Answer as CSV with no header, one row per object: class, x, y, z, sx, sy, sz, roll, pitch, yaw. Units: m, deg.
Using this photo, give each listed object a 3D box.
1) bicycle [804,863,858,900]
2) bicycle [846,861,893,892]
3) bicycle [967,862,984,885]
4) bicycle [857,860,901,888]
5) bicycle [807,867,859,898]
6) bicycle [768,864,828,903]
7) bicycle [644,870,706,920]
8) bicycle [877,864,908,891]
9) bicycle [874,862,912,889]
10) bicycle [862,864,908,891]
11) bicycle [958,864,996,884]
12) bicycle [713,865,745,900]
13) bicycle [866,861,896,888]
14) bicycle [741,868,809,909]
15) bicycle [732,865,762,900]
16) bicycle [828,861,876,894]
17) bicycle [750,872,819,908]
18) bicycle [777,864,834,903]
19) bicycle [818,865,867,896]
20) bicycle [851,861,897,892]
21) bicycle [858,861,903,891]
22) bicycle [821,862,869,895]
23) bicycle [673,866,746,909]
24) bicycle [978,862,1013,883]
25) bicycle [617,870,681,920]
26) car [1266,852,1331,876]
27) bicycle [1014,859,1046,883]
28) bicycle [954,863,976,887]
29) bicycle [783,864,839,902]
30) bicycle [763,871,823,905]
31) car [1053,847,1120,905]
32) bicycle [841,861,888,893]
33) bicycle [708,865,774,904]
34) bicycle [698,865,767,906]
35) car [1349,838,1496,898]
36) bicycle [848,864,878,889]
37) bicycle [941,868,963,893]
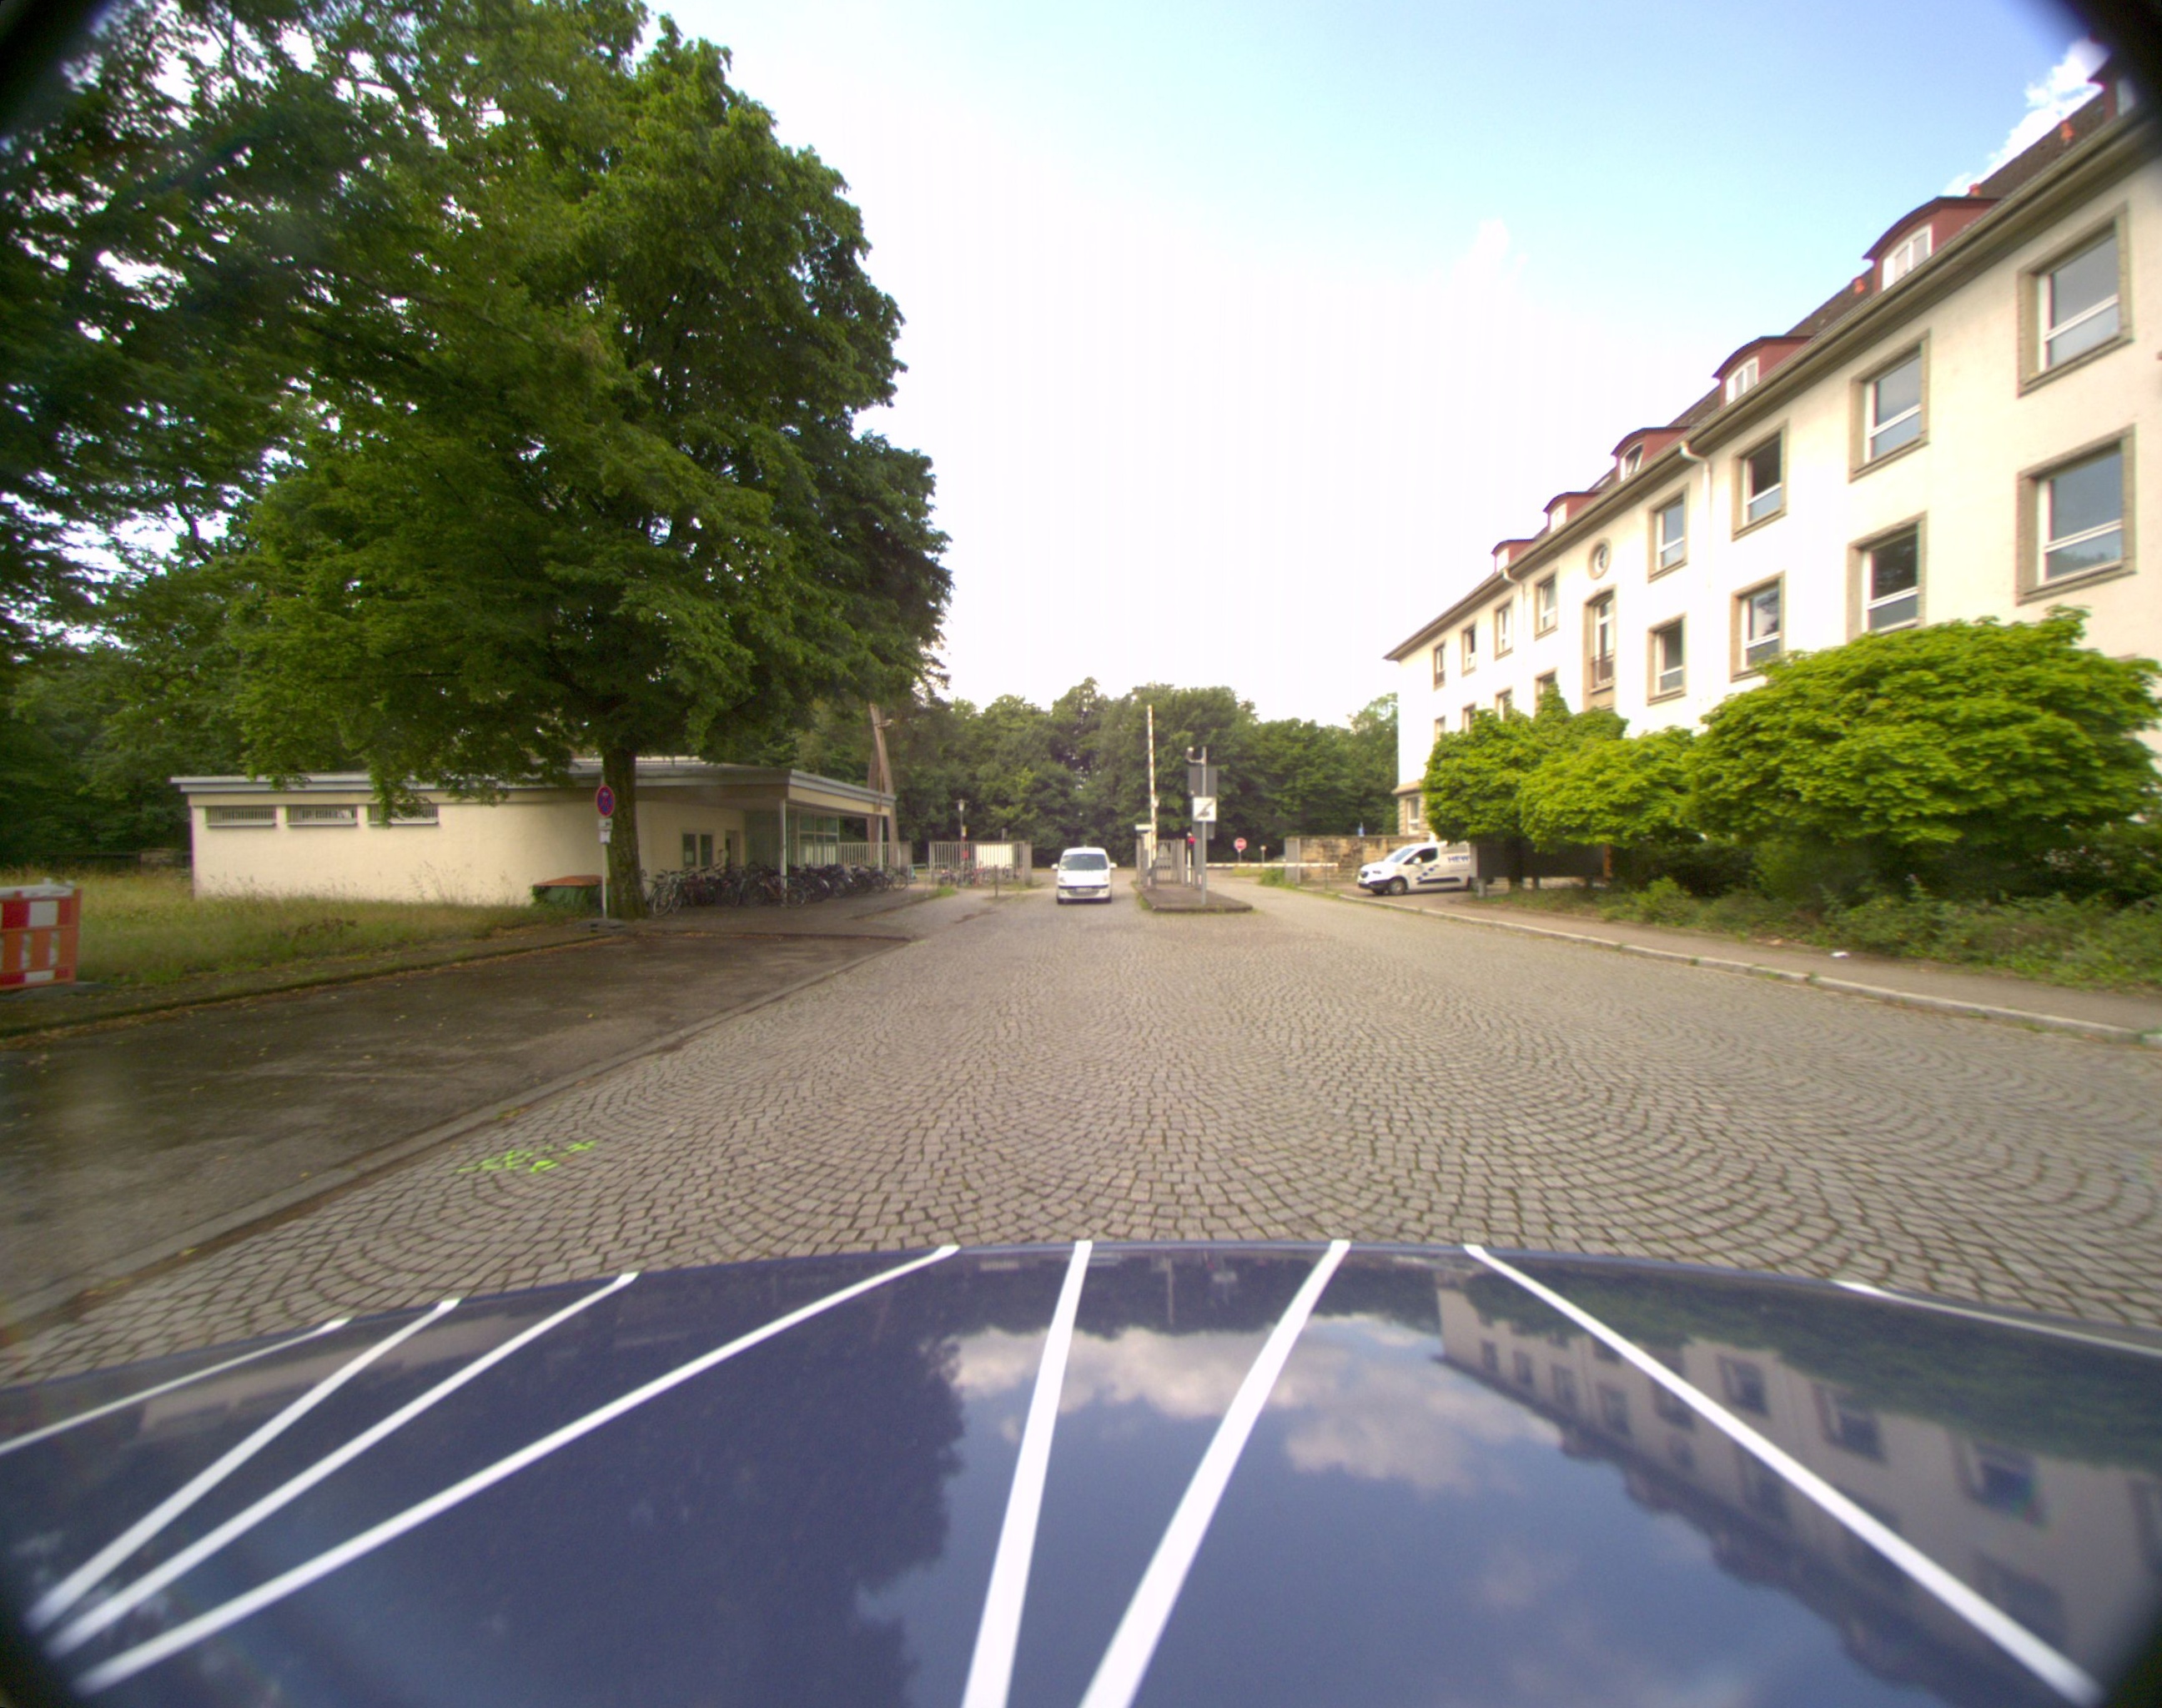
bicycle,-8.316,0.907,25.311,1.635,1.183,0.498,1,1,-11
bicycle,-7.910,0.847,28.453,1.617,1.134,0.325,1,1,-6
bicycle,-4.959,0.899,35.769,0.474,1.051,1.732,0,1,2
bicycle,-8.331,0.817,31.402,1.744,1.125,0.473,-1,1,-42
bicycle,-8.435,0.979,25.885,1.636,1.044,0.334,1,1,-13
bicycle,-8.655,0.903,23.273,1.635,1.183,0.473,1,1,-12
bicycle,-9.881,0.972,18.552,0.598,1.110,1.635,1,0,1
bicycle,-7.464,0.922,30.123,1.154,1.056,0.286,-1,1,-19
bicycle,-7.542,0.872,30.527,1.408,1.040,0.338,-1,1,-25
bicycle,-7.967,0.938,30.947,1.753,1.040,0.453,-1,1,-37
bicycle,-5.191,0.996,38.051,1.868,0.934,0.503,1,1,-3
bicycle,-11.404,0.898,24.648,0.480,1.069,1.680,1,0,-9
bicycle,-8.745,0.898,33.201,0.648,1.132,1.681,0,1,8
bicycle,-8.449,0.963,21.018,1.682,1.102,0.338,1,1,-12
bicycle,-10.831,0.907,24.699,0.480,1.069,1.680,1,0,-9
bicycle,-8.300,0.856,27.610,1.617,1.134,0.325,1,1,-6
bicycle,-8.557,1.029,21.929,1.749,0.970,0.757,1,1,-28
bicycle,-8.656,0.933,23.905,1.635,1.183,0.419,1,1,-11
bicycle,-8.301,0.938,26.499,1.596,1.044,0.325,1,1,-6
bicycle,-7.885,0.859,28.935,1.617,1.134,0.356,1,1,-6
bicycle,-7.803,0.849,29.589,1.617,1.134,0.356,1,1,-6
bicycle,-8.357,0.865,26.940,1.596,1.134,0.325,1,1,-6
bicycle,-10.518,0.953,21.550,1.745,1.158,0.608,1,1,-2
bicycle,-4.382,0.945,38.839,1.730,1.027,0.387,1,1,3
bicycle,-10.511,0.971,18.542,0.598,1.110,1.635,1,0,1
car,14.562,0.652,50.998,3.994,1.508,1.803,-1,0,8
bicycle,-2.738,0.922,40.865,1.655,1.223,0.749,1,1,-6
bicycle,-5.165,0.928,33.977,0.692,1.056,1.565,0,1,2
bicycle,-8.687,0.927,24.518,1.635,1.183,0.419,1,1,-11
bicycle,-8.572,1.015,22.643,1.638,0.970,0.322,1,1,-28
car,0.271,0.691,25.985,1.866,1.749,4.150,-2,0,5
bicycle,-7.977,0.853,28.070,1.617,1.134,0.325,1,1,-6
bicycle,-10.505,0.931,23.498,1.745,1.158,0.608,1,1,-2
bicycle,-10.352,0.936,22.573,1.745,1.158,0.608,1,1,-2
car,12.010,0.477,26.891,4.312,1.796,1.820,-3,1,0
bicycle,-9.080,0.936,31.657,0.404,1.004,1.359,0,1,25
bicycle,-5.256,1.057,30.965,0.535,0.947,1.655,0,1,2
